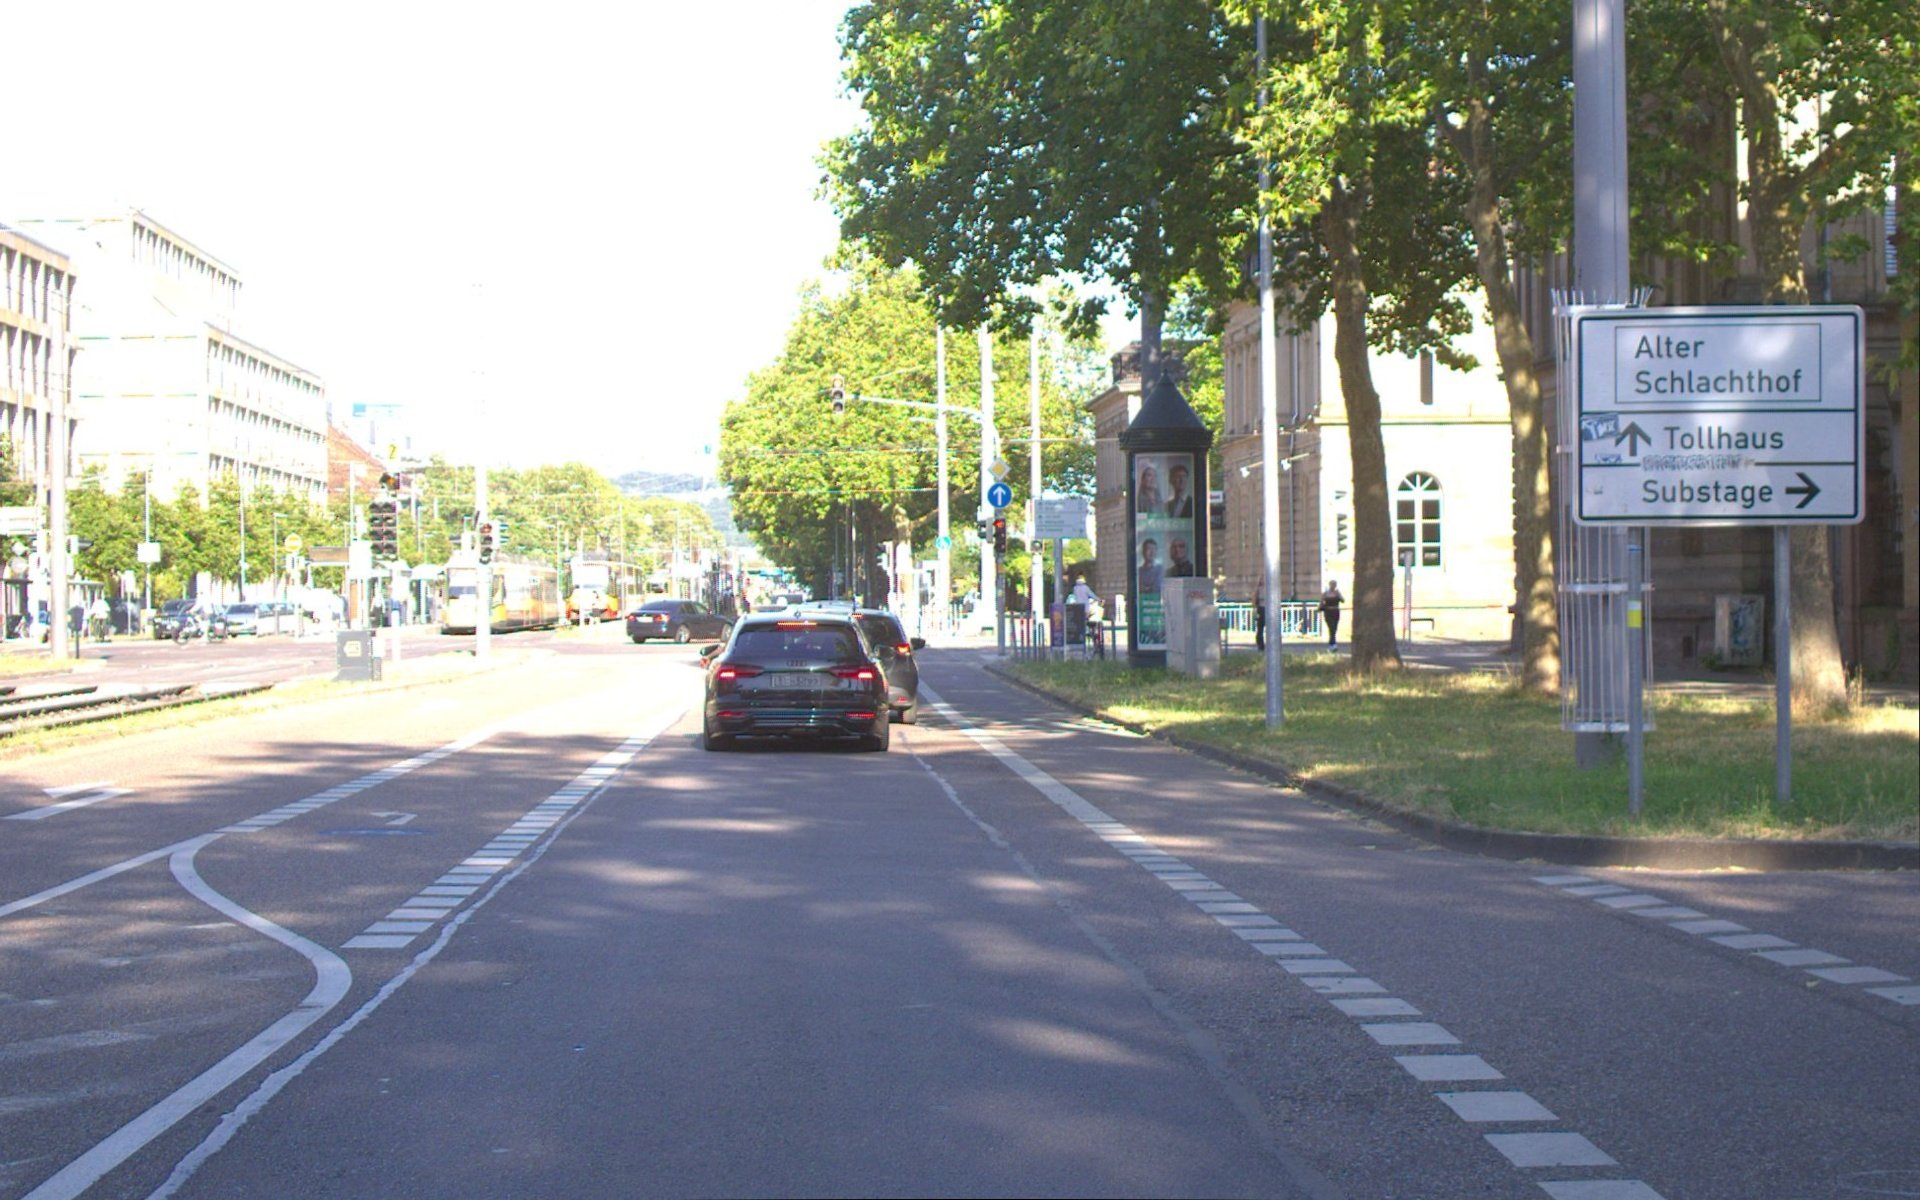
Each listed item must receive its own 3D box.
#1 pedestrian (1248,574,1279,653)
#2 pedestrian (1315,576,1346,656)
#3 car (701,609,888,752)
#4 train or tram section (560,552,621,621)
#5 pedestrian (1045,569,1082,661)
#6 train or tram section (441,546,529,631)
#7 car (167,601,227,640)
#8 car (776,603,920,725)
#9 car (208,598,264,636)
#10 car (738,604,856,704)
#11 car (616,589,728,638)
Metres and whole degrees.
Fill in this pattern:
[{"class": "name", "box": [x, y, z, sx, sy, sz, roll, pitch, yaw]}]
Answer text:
[{"class": "pedestrian", "box": [6.625, 0.291, 74.926, 0.588, 1.722, 0.650, 1, 0, 10]}, {"class": "pedestrian", "box": [8.060, 0.339, 74.807, 0.588, 1.722, 0.650, 1, 0, 12]}, {"class": "car", "box": [-1.749, 0.802, 35.938, 1.833, 1.386, 4.159, 0, 0, -3]}, {"class": "train or tram section", "box": [-19.067, -0.681, 177.833, 2.825, 3.439, 9.065, -1, 0, -4]}, {"class": "pedestrian", "box": [1.967, 0.276, 65.254, 0.588, 1.722, 0.650, 1, 0, 10]}, {"class": "train or tram section", "box": [-20.147, -0.492, 146.238, 2.825, 3.439, 9.064, -1, 0, -2]}, {"class": "car", "box": [-30.056, 0.798, 135.552, 1.794, 1.505, 4.001, -1, 0, -5]}, {"class": "car", "box": [-1.484, 0.807, 45.418, 1.794, 1.505, 4.000, -1, 0, -2]}, {"class": "car", "box": [-29.951, 0.679, 142.329, 1.794, 1.505, 4.001, -1, 0, -5]}, {"class": "car", "box": [-2.579, 0.831, 54.956, 1.794, 1.505, 4.000, -1, 0, -2]}, {"class": "car", "box": [-9.317, 0.442, 111.343, 1.797, 1.505, 3.994, 1, -1, 26]}]
